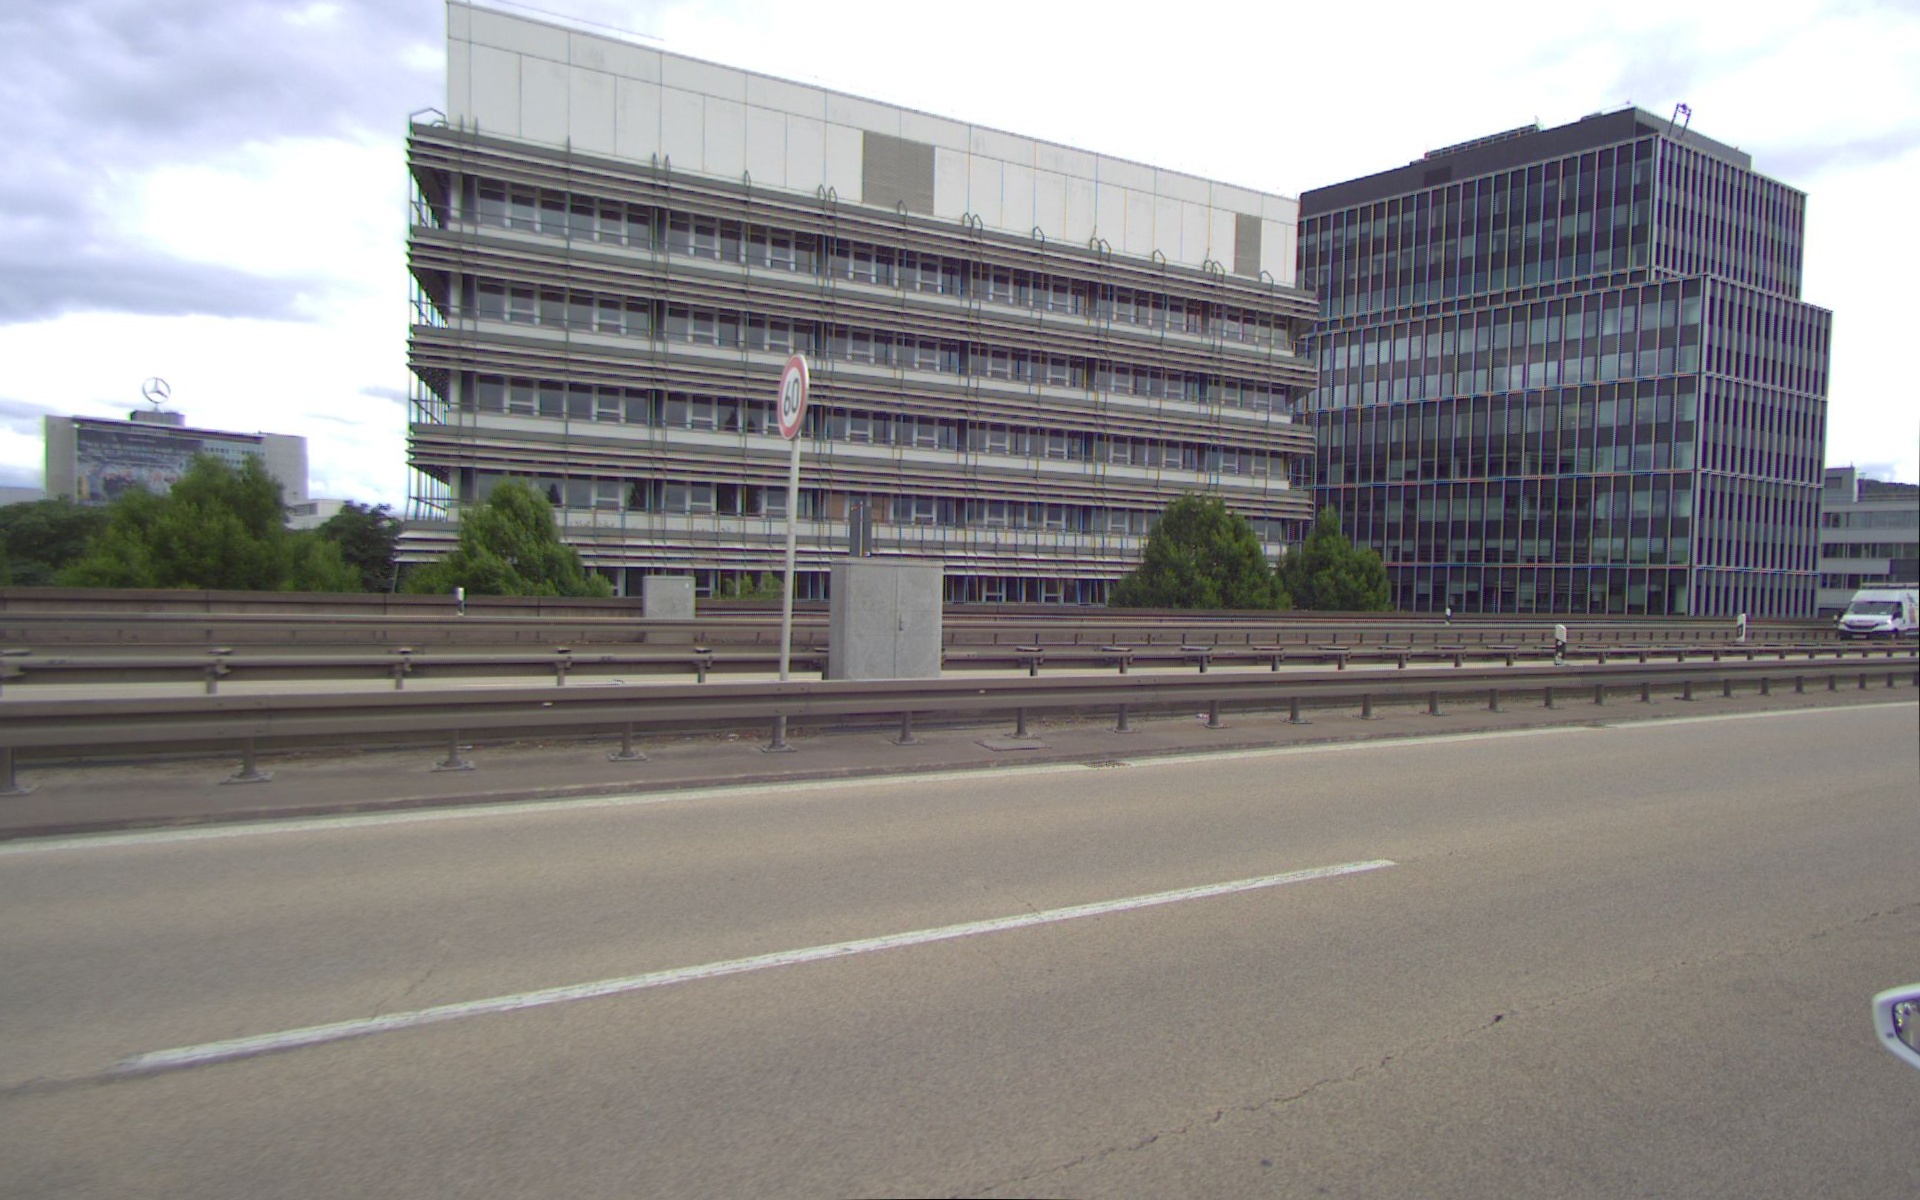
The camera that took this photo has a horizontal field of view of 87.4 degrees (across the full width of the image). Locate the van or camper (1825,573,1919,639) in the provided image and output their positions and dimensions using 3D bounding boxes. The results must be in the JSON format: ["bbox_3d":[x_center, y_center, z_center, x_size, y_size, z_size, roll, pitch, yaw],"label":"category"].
[{"bbox_3d":[45.043,0.330,49.023,7.035,3.048,2.160,1,0,-31],"label":"van or camper"}]
